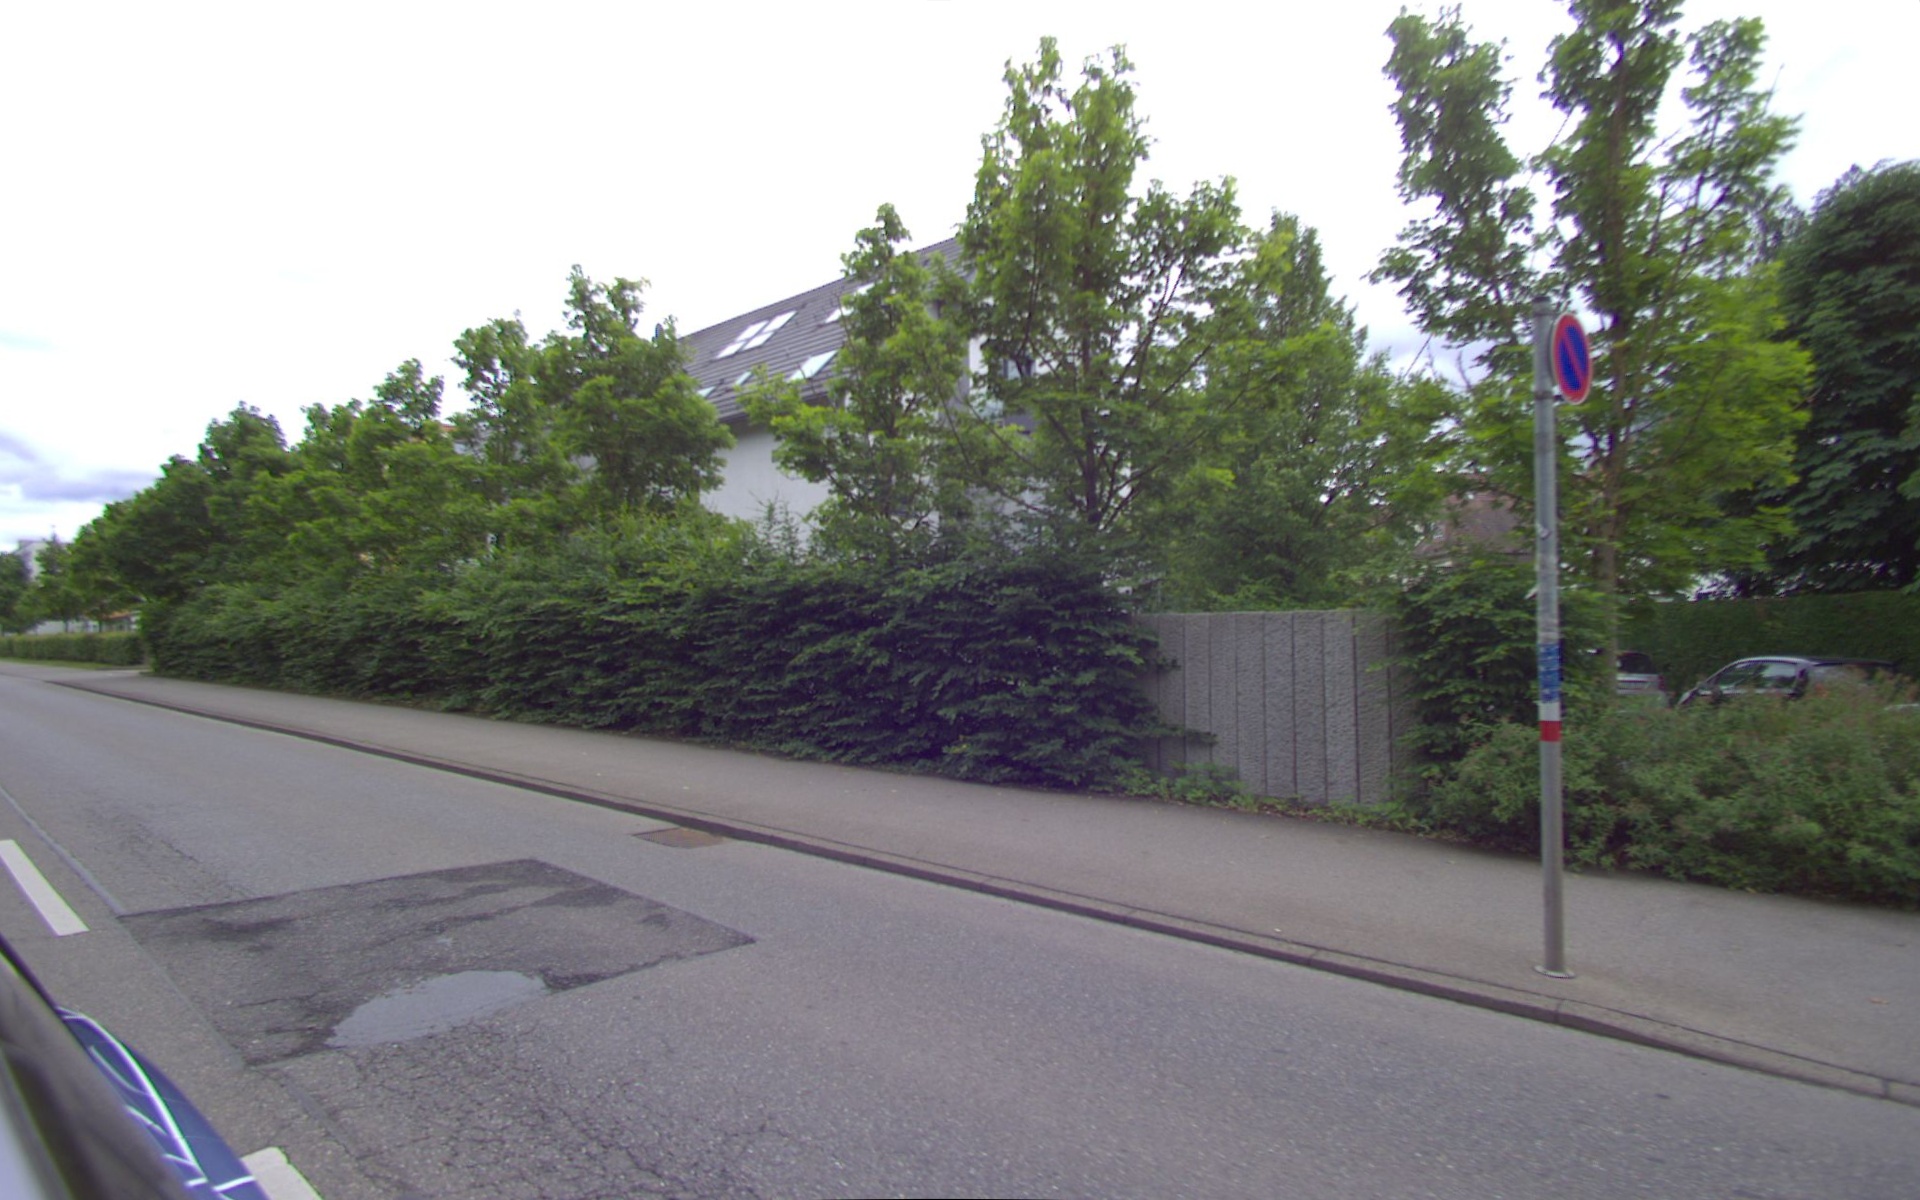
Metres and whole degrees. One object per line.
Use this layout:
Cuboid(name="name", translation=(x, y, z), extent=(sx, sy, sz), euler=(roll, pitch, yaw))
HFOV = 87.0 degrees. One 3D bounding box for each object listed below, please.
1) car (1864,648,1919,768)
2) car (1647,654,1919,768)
Cuboid(name="car", translation=(12.314, 1.265, 10.871), extent=(1.785, 1.431, 3.994), euler=(0, -2, 5))
Cuboid(name="car", translation=(12.591, 1.574, 15.366), extent=(1.785, 1.431, 3.994), euler=(0, -2, 5))
